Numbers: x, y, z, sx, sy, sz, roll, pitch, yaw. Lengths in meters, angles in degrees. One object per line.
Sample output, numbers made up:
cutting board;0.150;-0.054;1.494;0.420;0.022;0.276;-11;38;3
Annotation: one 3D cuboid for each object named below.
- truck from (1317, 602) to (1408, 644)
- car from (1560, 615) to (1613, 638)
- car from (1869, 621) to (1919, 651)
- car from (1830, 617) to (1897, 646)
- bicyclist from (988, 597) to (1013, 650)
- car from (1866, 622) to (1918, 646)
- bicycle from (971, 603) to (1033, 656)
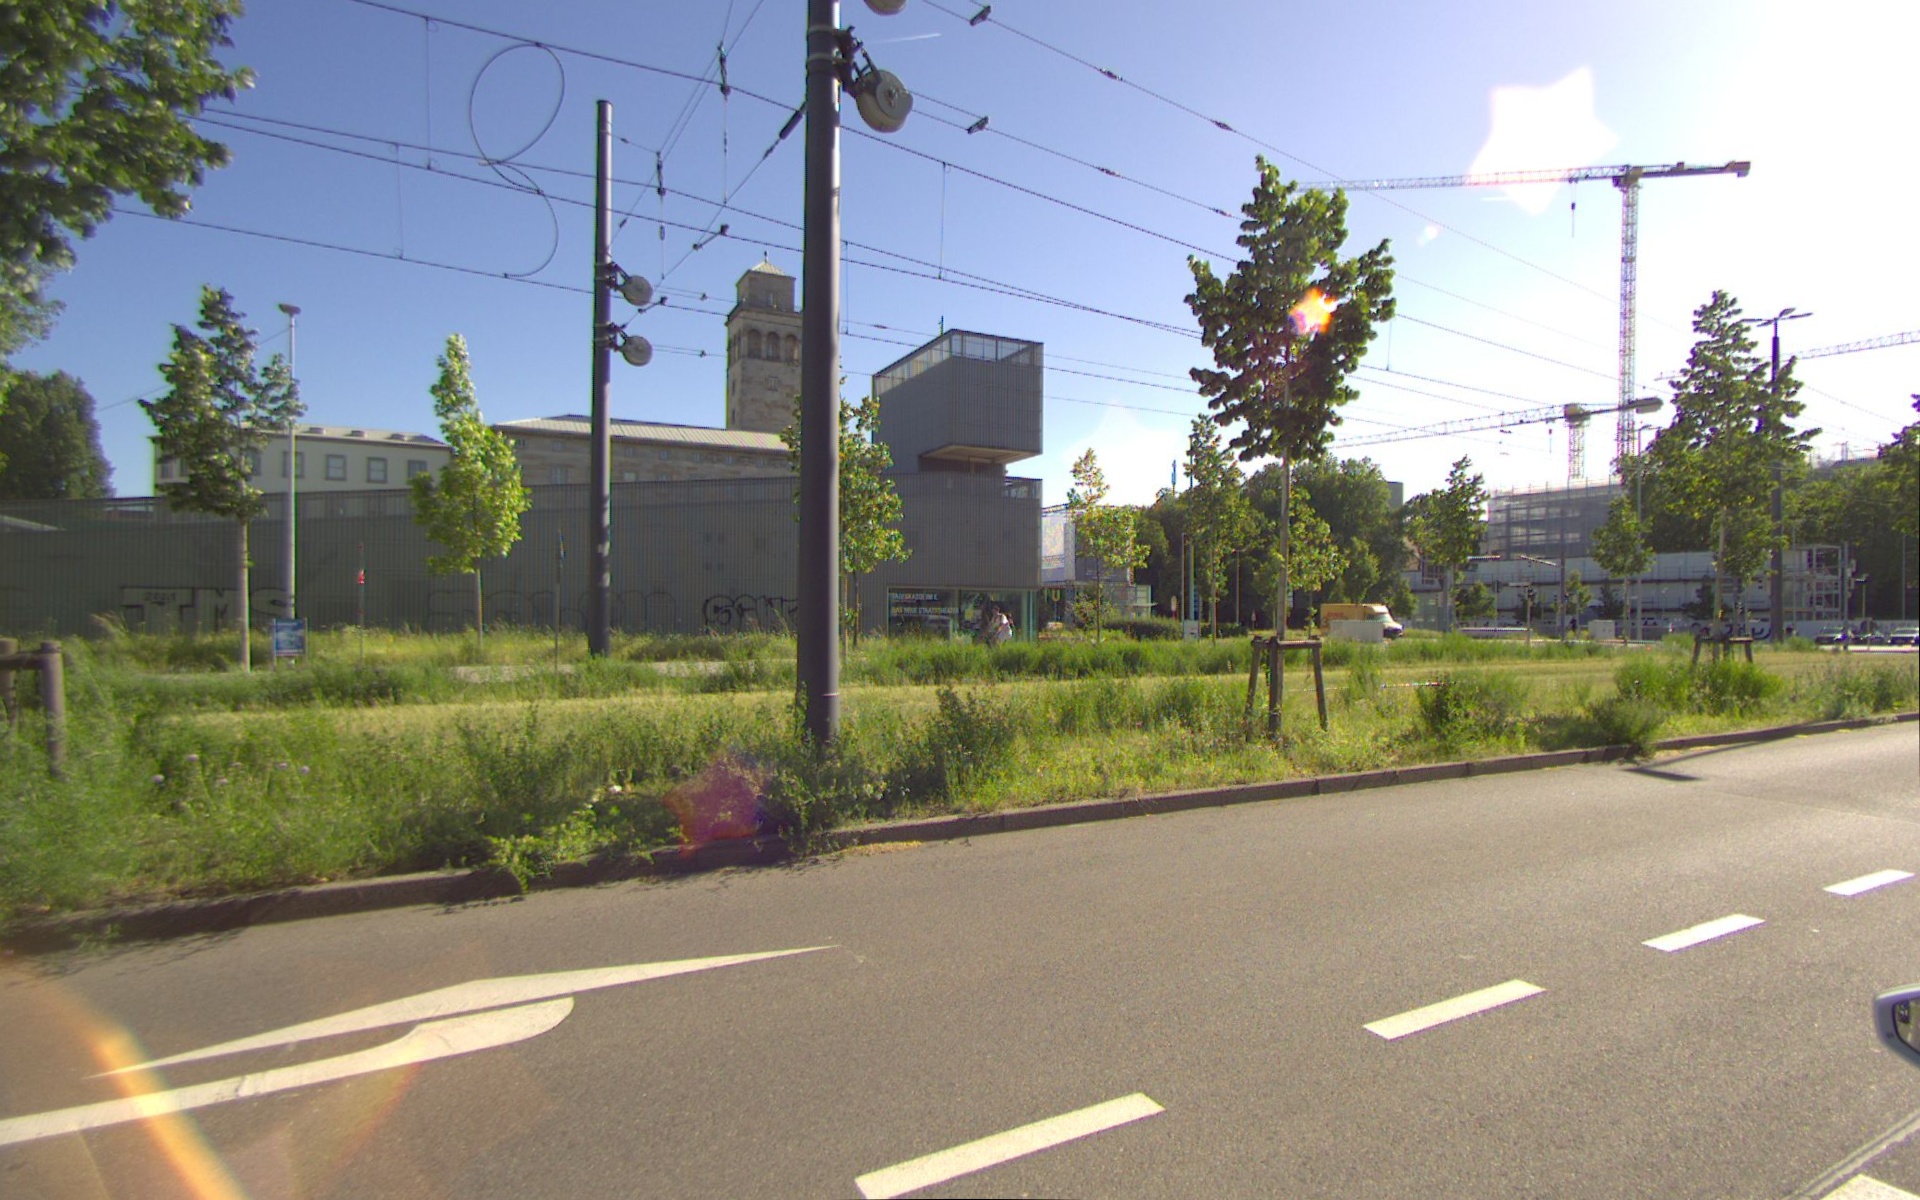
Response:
truck;32.073;1.803;80.323;1.977;3.002;6.929;2;1;-30
car;46.931;1.955;75.249;3.953;1.577;1.702;2;1;-30
car;40.404;1.557;42.979;3.183;1.194;1.369;2;1;-31
car;40.832;1.408;45.381;3.183;1.194;1.369;2;1;-31
bicyclist;1.158;0.668;28.676;0.533;1.474;0.392;1;1;-31
car;69.466;2.510;74.859;3.851;1.634;1.828;2;1;-31
bicycle;1.213;0.840;28.725;1.891;1.475;0.358;0;0;-30
